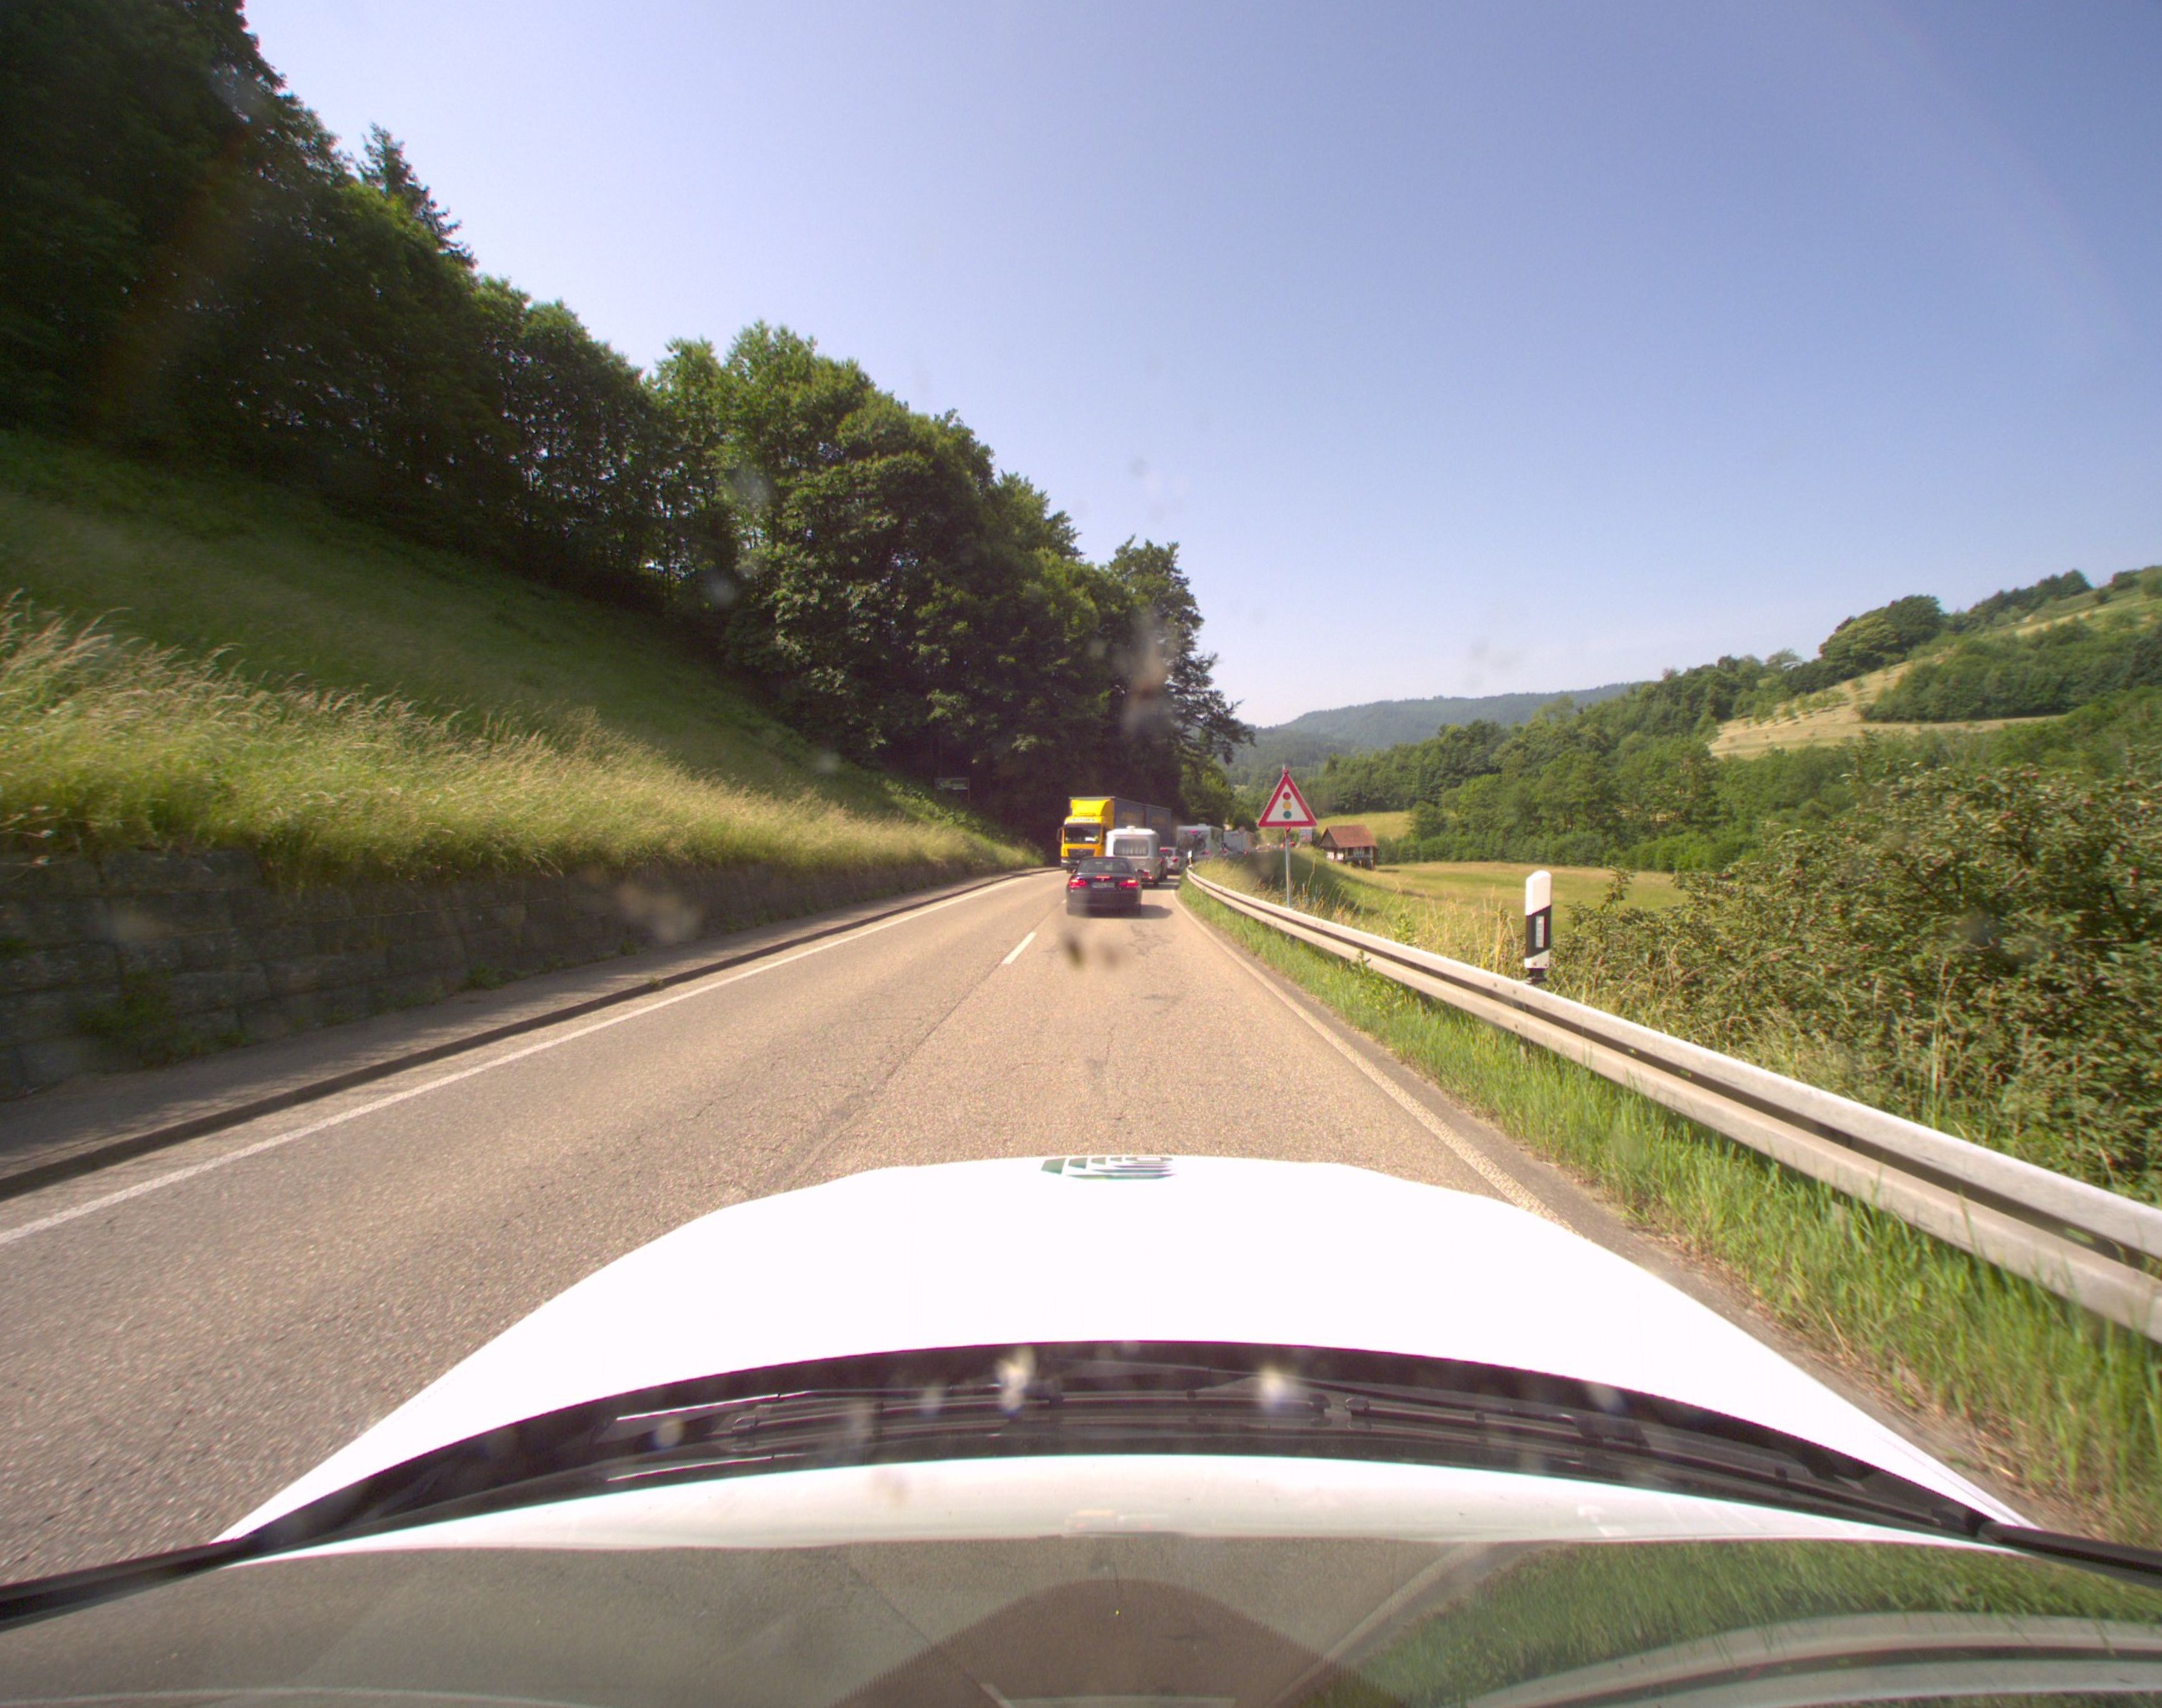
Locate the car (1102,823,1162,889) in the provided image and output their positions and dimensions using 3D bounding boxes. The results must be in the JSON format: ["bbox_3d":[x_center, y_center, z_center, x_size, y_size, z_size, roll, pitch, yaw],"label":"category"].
[{"bbox_3d":[2.091,0.003,31.848,1.982,2.352,4.925,1,2,8],"label":"car"}]

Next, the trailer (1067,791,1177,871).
[{"bbox_3d":[3.136,-1.448,53.031,3.234,4.417,15.387,1,1,18],"label":"trailer"}]

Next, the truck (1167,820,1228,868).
[{"bbox_3d":[8.115,-0.730,55.992,2.768,2.997,6.901,3,2,19],"label":"truck"}]

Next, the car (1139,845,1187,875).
[{"bbox_3d":[4.456,0.277,43.831,1.979,1.484,4.015,2,1,14],"label":"car"}]

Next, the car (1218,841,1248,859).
[{"bbox_3d":[13.303,-0.367,71.157,1.772,1.463,4.021,3,2,21],"label":"car"}]

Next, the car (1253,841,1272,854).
[{"bbox_3d":[22.163,-0.777,99.241,1.891,1.486,4.018,1,0,17],"label":"car"}]

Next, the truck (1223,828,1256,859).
[{"bbox_3d":[15.214,-0.964,77.785,2.219,2.804,6.261,1,0,18],"label":"truck"}]

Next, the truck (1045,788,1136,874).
[{"bbox_3d":[0.656,-1.279,45.134,3.163,4.396,6.602,1,2,17],"label":"truck"}]

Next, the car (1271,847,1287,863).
[{"bbox_3d":[26.432,0.151,108.670,1.980,1.925,4.015,4,1,14],"label":"car"}]

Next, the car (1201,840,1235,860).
[{"bbox_3d":[11.085,-0.380,65.582,1.977,1.463,4.020,3,2,20],"label":"car"}]

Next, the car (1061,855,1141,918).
[{"bbox_3d":[0.449,0.721,19.799,1.765,1.335,3.767,0,1,0],"label":"car"}]

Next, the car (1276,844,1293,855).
[{"bbox_3d":[31.419,-0.716,125.907,1.976,1.575,4.021,1,0,22],"label":"car"}]
